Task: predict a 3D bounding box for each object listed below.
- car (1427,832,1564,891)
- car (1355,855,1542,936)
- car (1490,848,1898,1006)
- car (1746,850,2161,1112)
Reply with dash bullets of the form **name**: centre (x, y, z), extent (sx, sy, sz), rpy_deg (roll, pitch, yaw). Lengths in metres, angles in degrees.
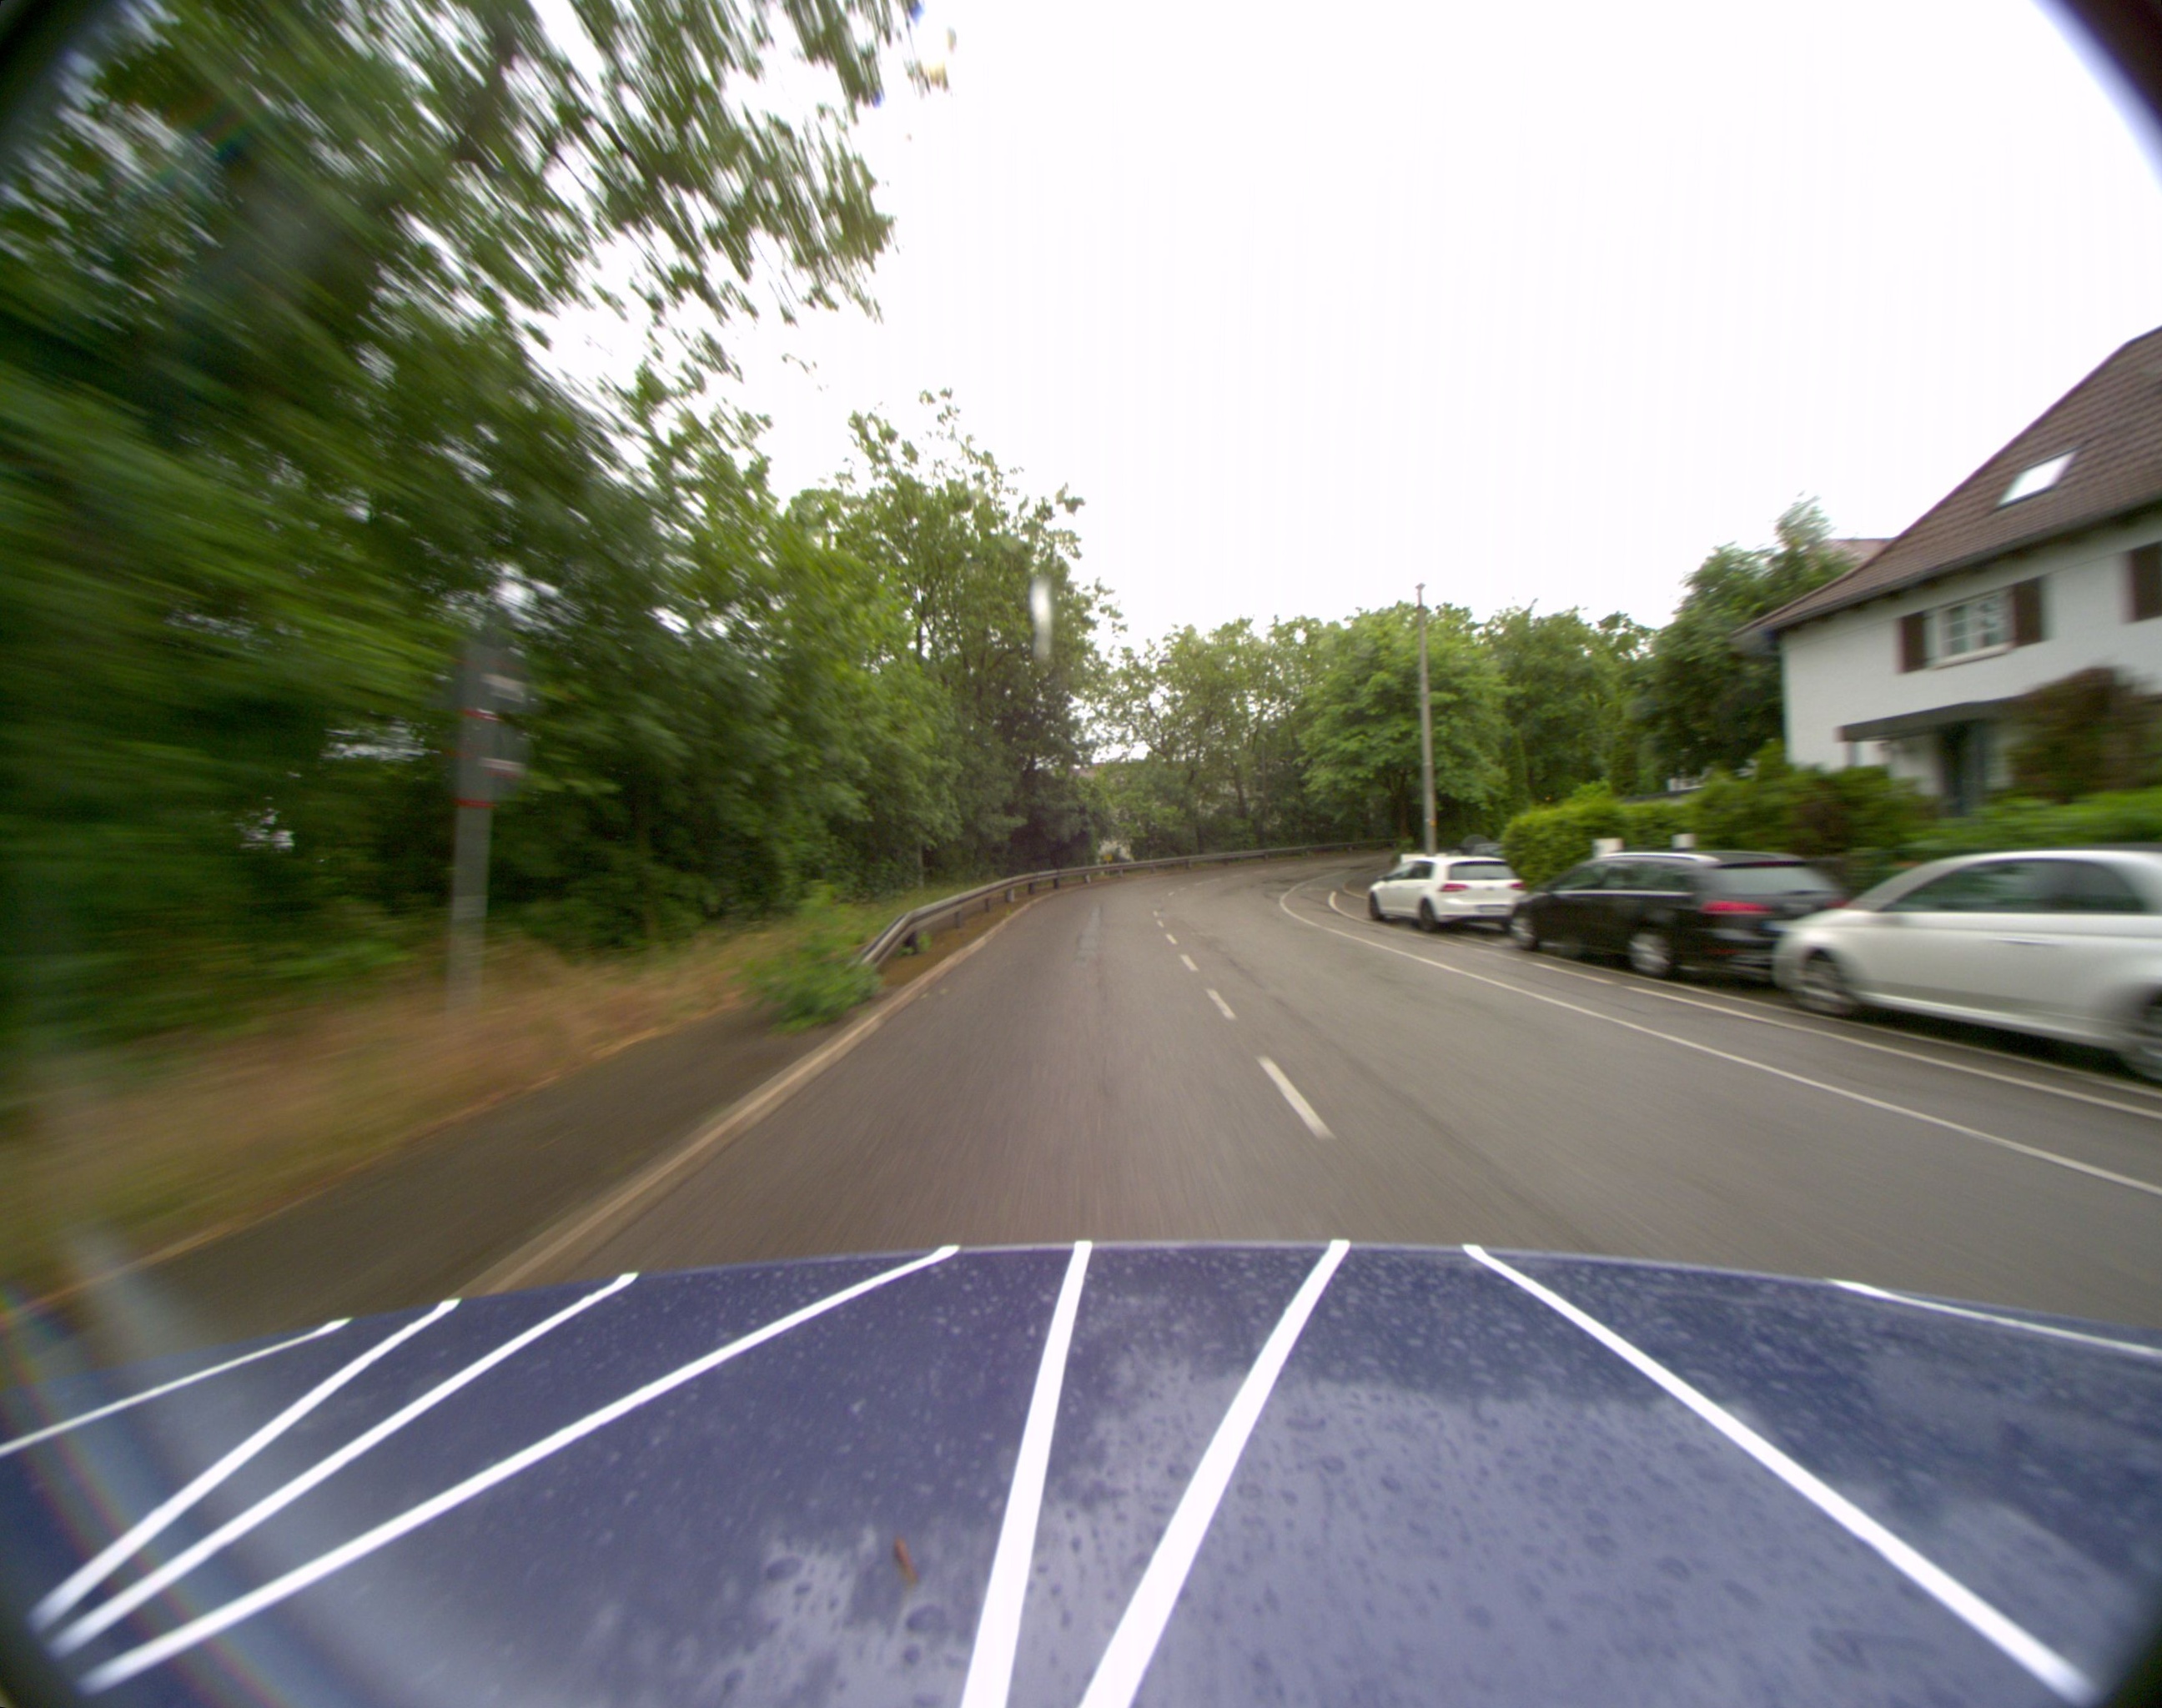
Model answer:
- **car**: centre (13.356, 0.228, 24.607), extent (3.346, 1.511, 1.822), rpy_deg (-6, 1, -3)
- **car**: centre (7.305, 0.745, 15.657), extent (1.737, 1.413, 4.282), rpy_deg (0, 0, -1)
- **car**: centre (7.393, 0.735, 9.894), extent (1.702, 1.516, 4.422), rpy_deg (-3, 0, 0)
- **car**: centre (7.260, 0.748, 5.491), extent (1.702, 1.459, 3.711), rpy_deg (-3, 0, 2)
